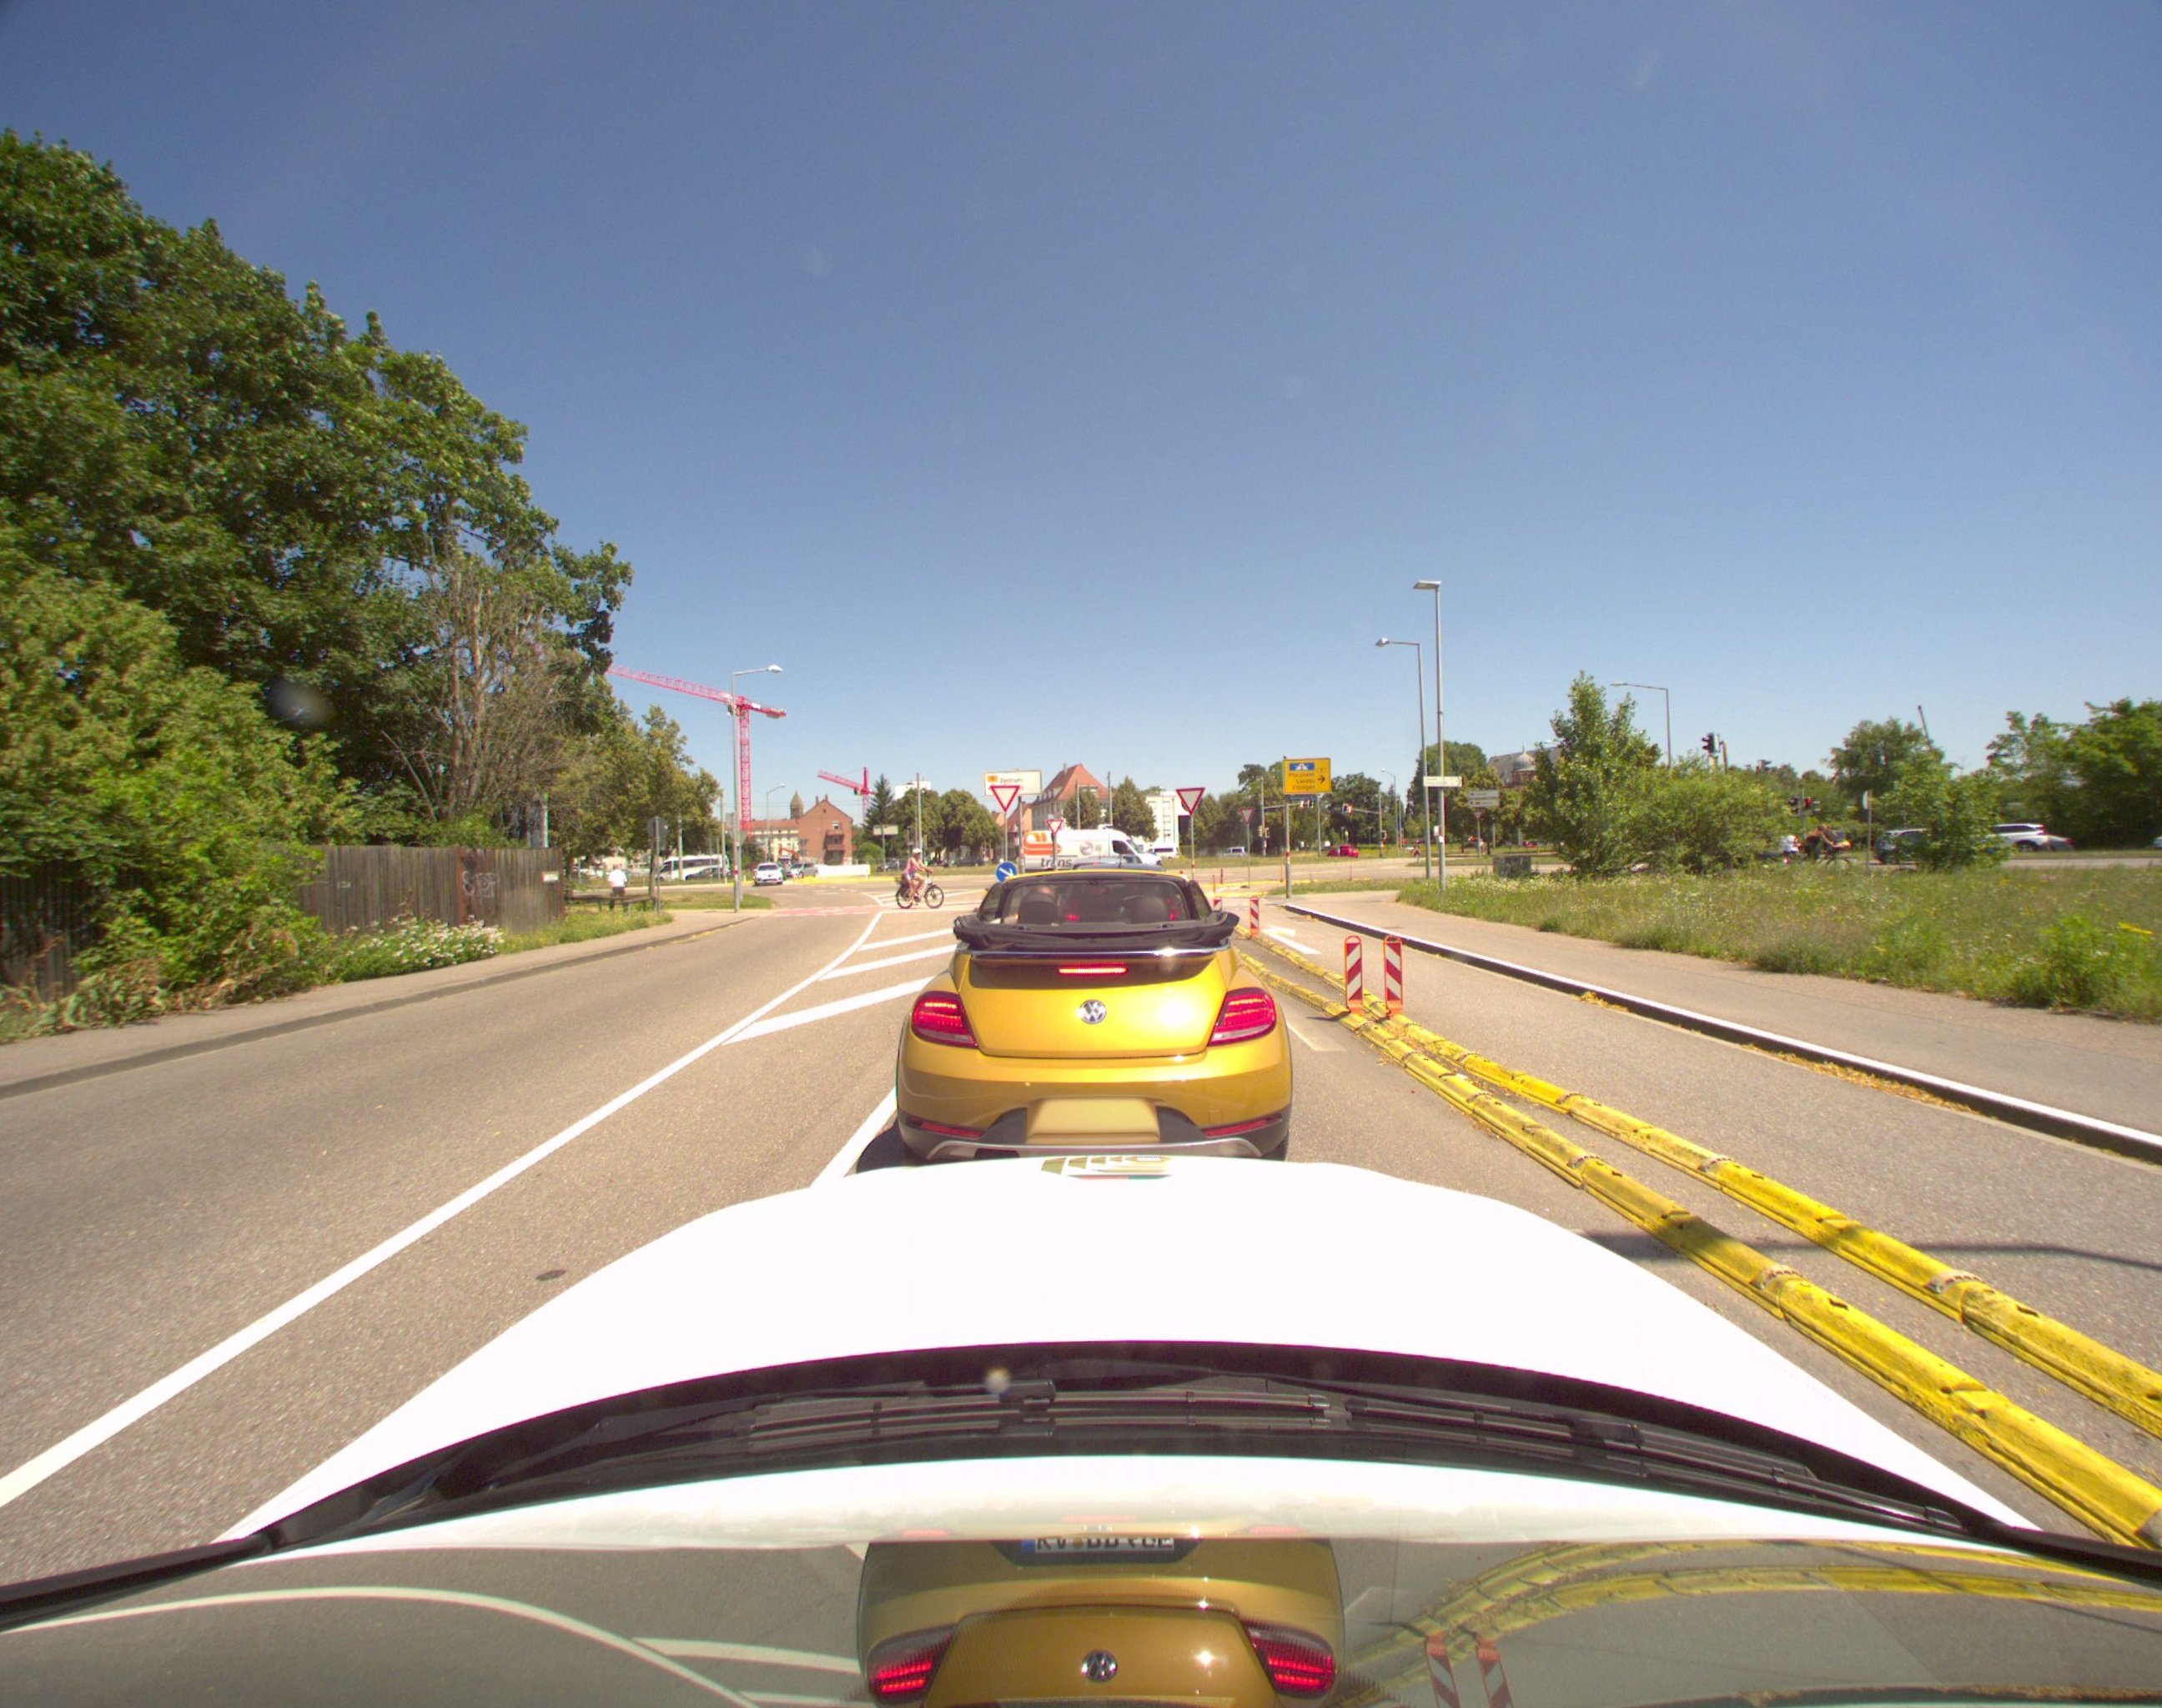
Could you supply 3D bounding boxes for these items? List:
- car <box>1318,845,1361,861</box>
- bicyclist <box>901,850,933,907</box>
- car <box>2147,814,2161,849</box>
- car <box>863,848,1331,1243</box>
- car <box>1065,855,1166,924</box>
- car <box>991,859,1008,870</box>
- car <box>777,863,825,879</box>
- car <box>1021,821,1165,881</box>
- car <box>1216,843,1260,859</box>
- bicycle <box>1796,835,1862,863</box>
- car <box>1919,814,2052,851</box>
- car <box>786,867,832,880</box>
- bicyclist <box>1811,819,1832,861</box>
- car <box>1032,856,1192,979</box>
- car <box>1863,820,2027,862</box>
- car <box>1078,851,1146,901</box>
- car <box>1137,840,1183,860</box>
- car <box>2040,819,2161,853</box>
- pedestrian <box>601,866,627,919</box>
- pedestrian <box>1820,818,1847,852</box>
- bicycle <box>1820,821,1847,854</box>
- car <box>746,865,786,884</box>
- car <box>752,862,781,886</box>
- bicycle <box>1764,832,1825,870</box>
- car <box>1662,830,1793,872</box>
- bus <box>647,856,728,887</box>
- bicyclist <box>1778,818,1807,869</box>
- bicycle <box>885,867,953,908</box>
[{"bbox_3d":[29.062,-0.083,91.566,1.911,1.654,4.295,0,-1,-40],"label":"car"},{"bbox_3d":[-5.140,0.769,25.571,0.664,1.752,0.596,-2,1,23],"label":"bicyclist"},{"bbox_3d":[51.668,-1.065,36.551,4.389,1.592,1.860,-1,-1,43],"label":"car"},{"bbox_3d":[0.123,0.743,5.210,1.758,1.481,4.259,0,-1,2],"label":"car"},{"bbox_3d":[0.762,0.741,18.753,2.057,1.382,4.259,0,-1,1],"label":"car"},{"bbox_3d":[-13.188,1.690,131.619,1.889,1.772,3.977,0,-1,-17],"label":"car"},{"bbox_3d":[-25.152,1.530,73.214,1.712,1.402,4.293,-1,-1,21],"label":"car"},{"bbox_3d":[0.606,-0.096,40.212,6.815,2.828,2.007,-1,-1,12],"label":"car"},{"bbox_3d":[20.517,-0.398,106.438,5.262,2.070,2.006,-1,-1,25],"label":"car"},{"bbox_3d":[24.133,-0.159,26.293,1.578,0.884,0.370,-1,-1,13],"label":"bicycle"},{"bbox_3d":[45.885,-1.033,41.479,4.389,1.736,1.860,-1,-1,43],"label":"car"},{"bbox_3d":[-29.357,2.101,87.988,4.355,1.371,1.731,0,-1,-43],"label":"car"},{"bbox_3d":[23.947,-0.445,26.334,0.353,1.319,0.380,-1,-1,12],"label":"bicyclist"},{"bbox_3d":[0.433,0.762,11.764,1.844,1.366,4.260,-2,0,2],"label":"car"},{"bbox_3d":[36.764,-0.541,34.815,4.364,1.595,2.012,-2,1,27],"label":"car"},{"bbox_3d":[1.049,0.673,27.738,2.057,1.481,4.545,-2,0,2],"label":"car"},{"bbox_3d":[9.734,-0.500,100.623,5.268,2.397,2.003,-1,-1,18],"label":"car"},{"bbox_3d":[51.464,-0.870,40.677,4.389,1.592,1.860,-1,-1,43],"label":"car"},{"bbox_3d":[-16.052,1.310,27.979,0.641,1.786,0.958,0,-1,-38],"label":"pedestrian"},{"bbox_3d":[37.905,-0.952,41.029,0.959,1.660,0.892,-1,-1,44],"label":"pedestrian"},{"bbox_3d":[38.004,-0.824,41.138,0.972,1.597,2.900,-1,-1,43],"label":"bicycle"},{"bbox_3d":[-24.785,1.589,64.212,1.743,1.371,4.326,0,-1,-3],"label":"car"},{"bbox_3d":[-22.079,1.387,57.183,1.783,1.527,3.843,-2,0,-22],"label":"car"},{"bbox_3d":[25.906,-0.115,29.564,2.902,1.353,0.635,0,-1,-28],"label":"bicycle"},{"bbox_3d":[26.475,-0.125,33.526,3.949,1.551,1.739,-1,2,28],"label":"car"},{"bbox_3d":[-40.990,1.792,85.072,7.262,3.172,2.251,0,-1,-14],"label":"bus"},{"bbox_3d":[25.761,-0.380,29.492,0.573,1.841,0.603,0,-1,-29],"label":"bicyclist"},{"bbox_3d":[-5.082,1.050,25.557,2.073,1.221,0.637,-2,0,24],"label":"bicycle"}]
